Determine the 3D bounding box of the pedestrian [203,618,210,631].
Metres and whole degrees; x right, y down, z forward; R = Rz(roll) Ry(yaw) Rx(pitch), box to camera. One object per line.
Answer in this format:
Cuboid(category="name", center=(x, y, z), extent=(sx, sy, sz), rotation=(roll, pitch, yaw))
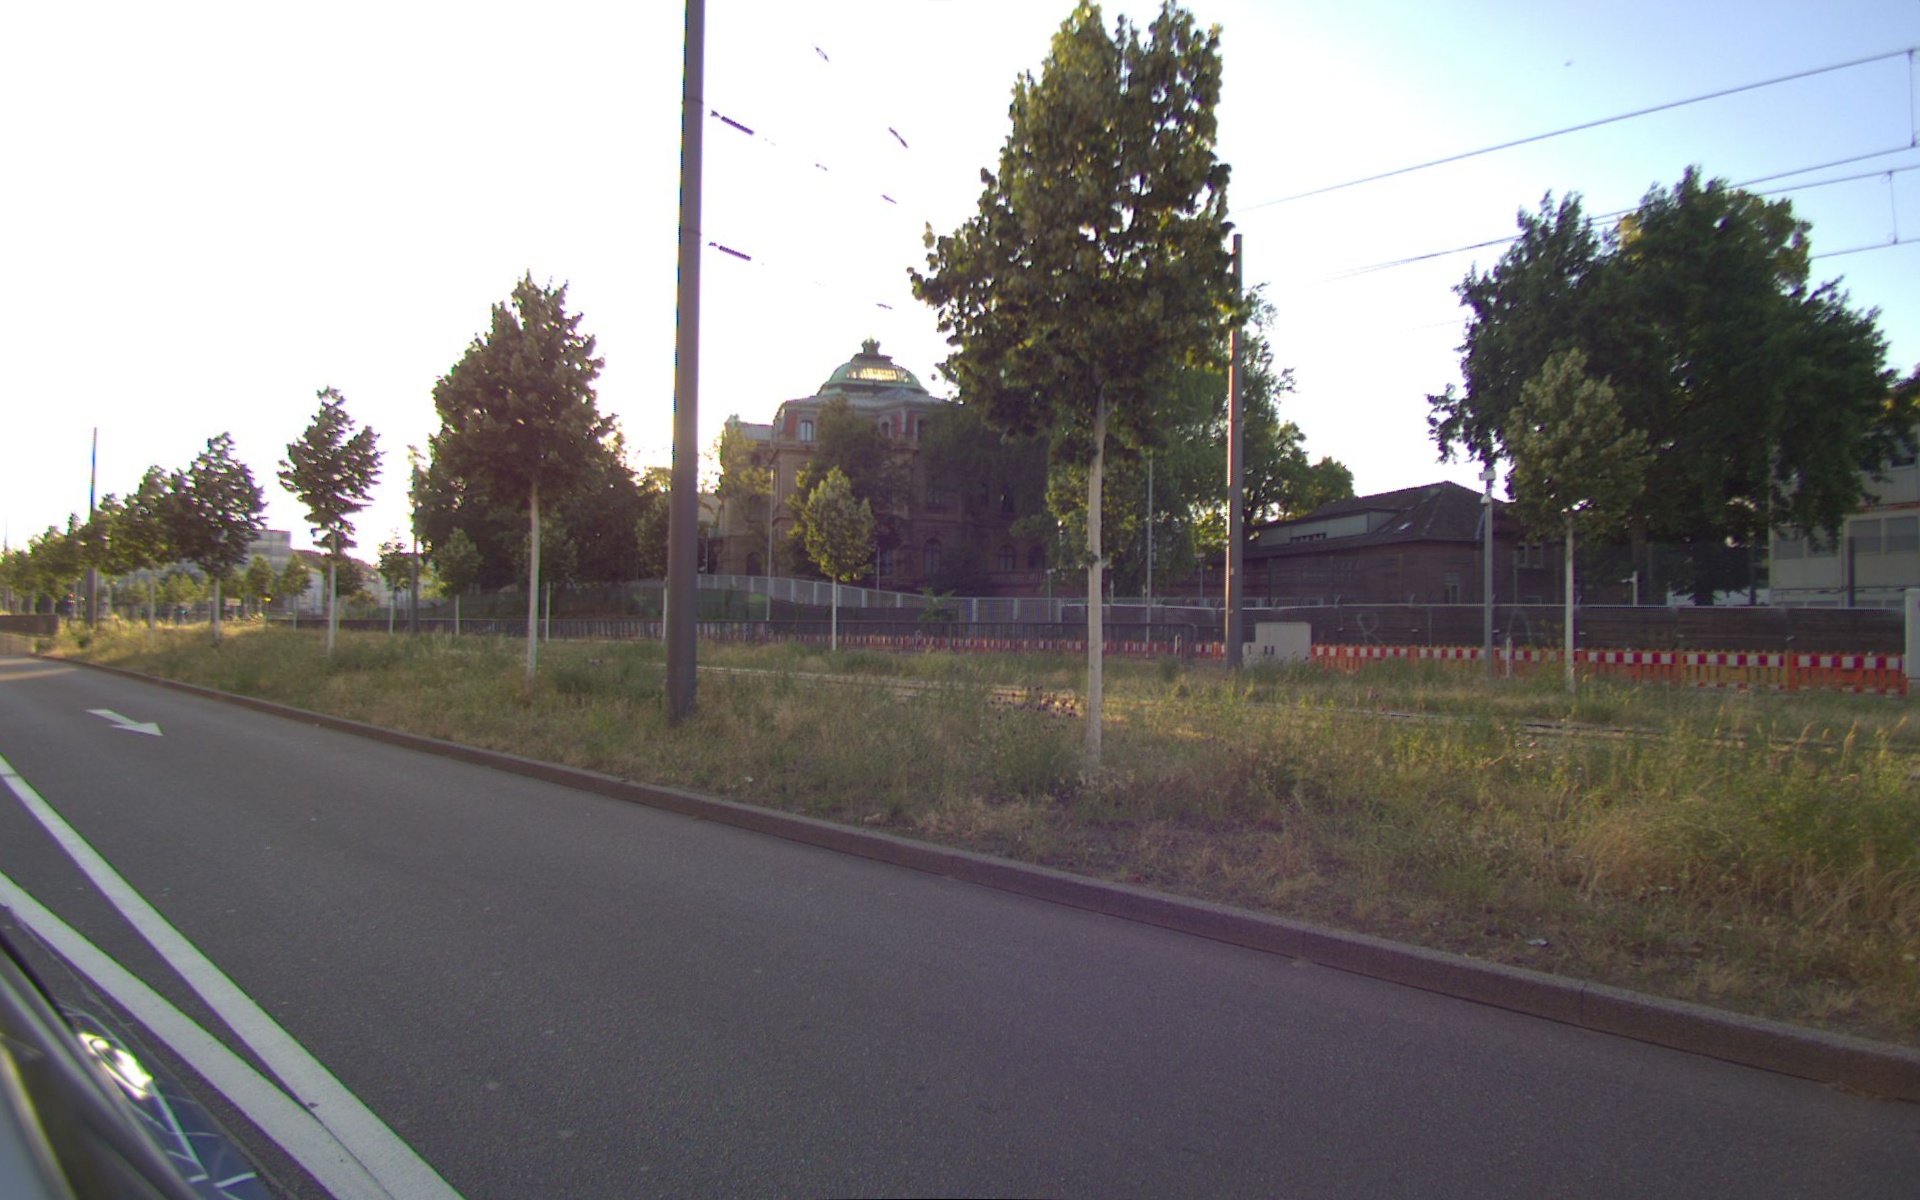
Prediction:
Cuboid(category="pedestrian", center=(-104.309, 3.361, 140.090), extent=(0.637, 1.725, 0.839), rotation=(1, -2, -40))
